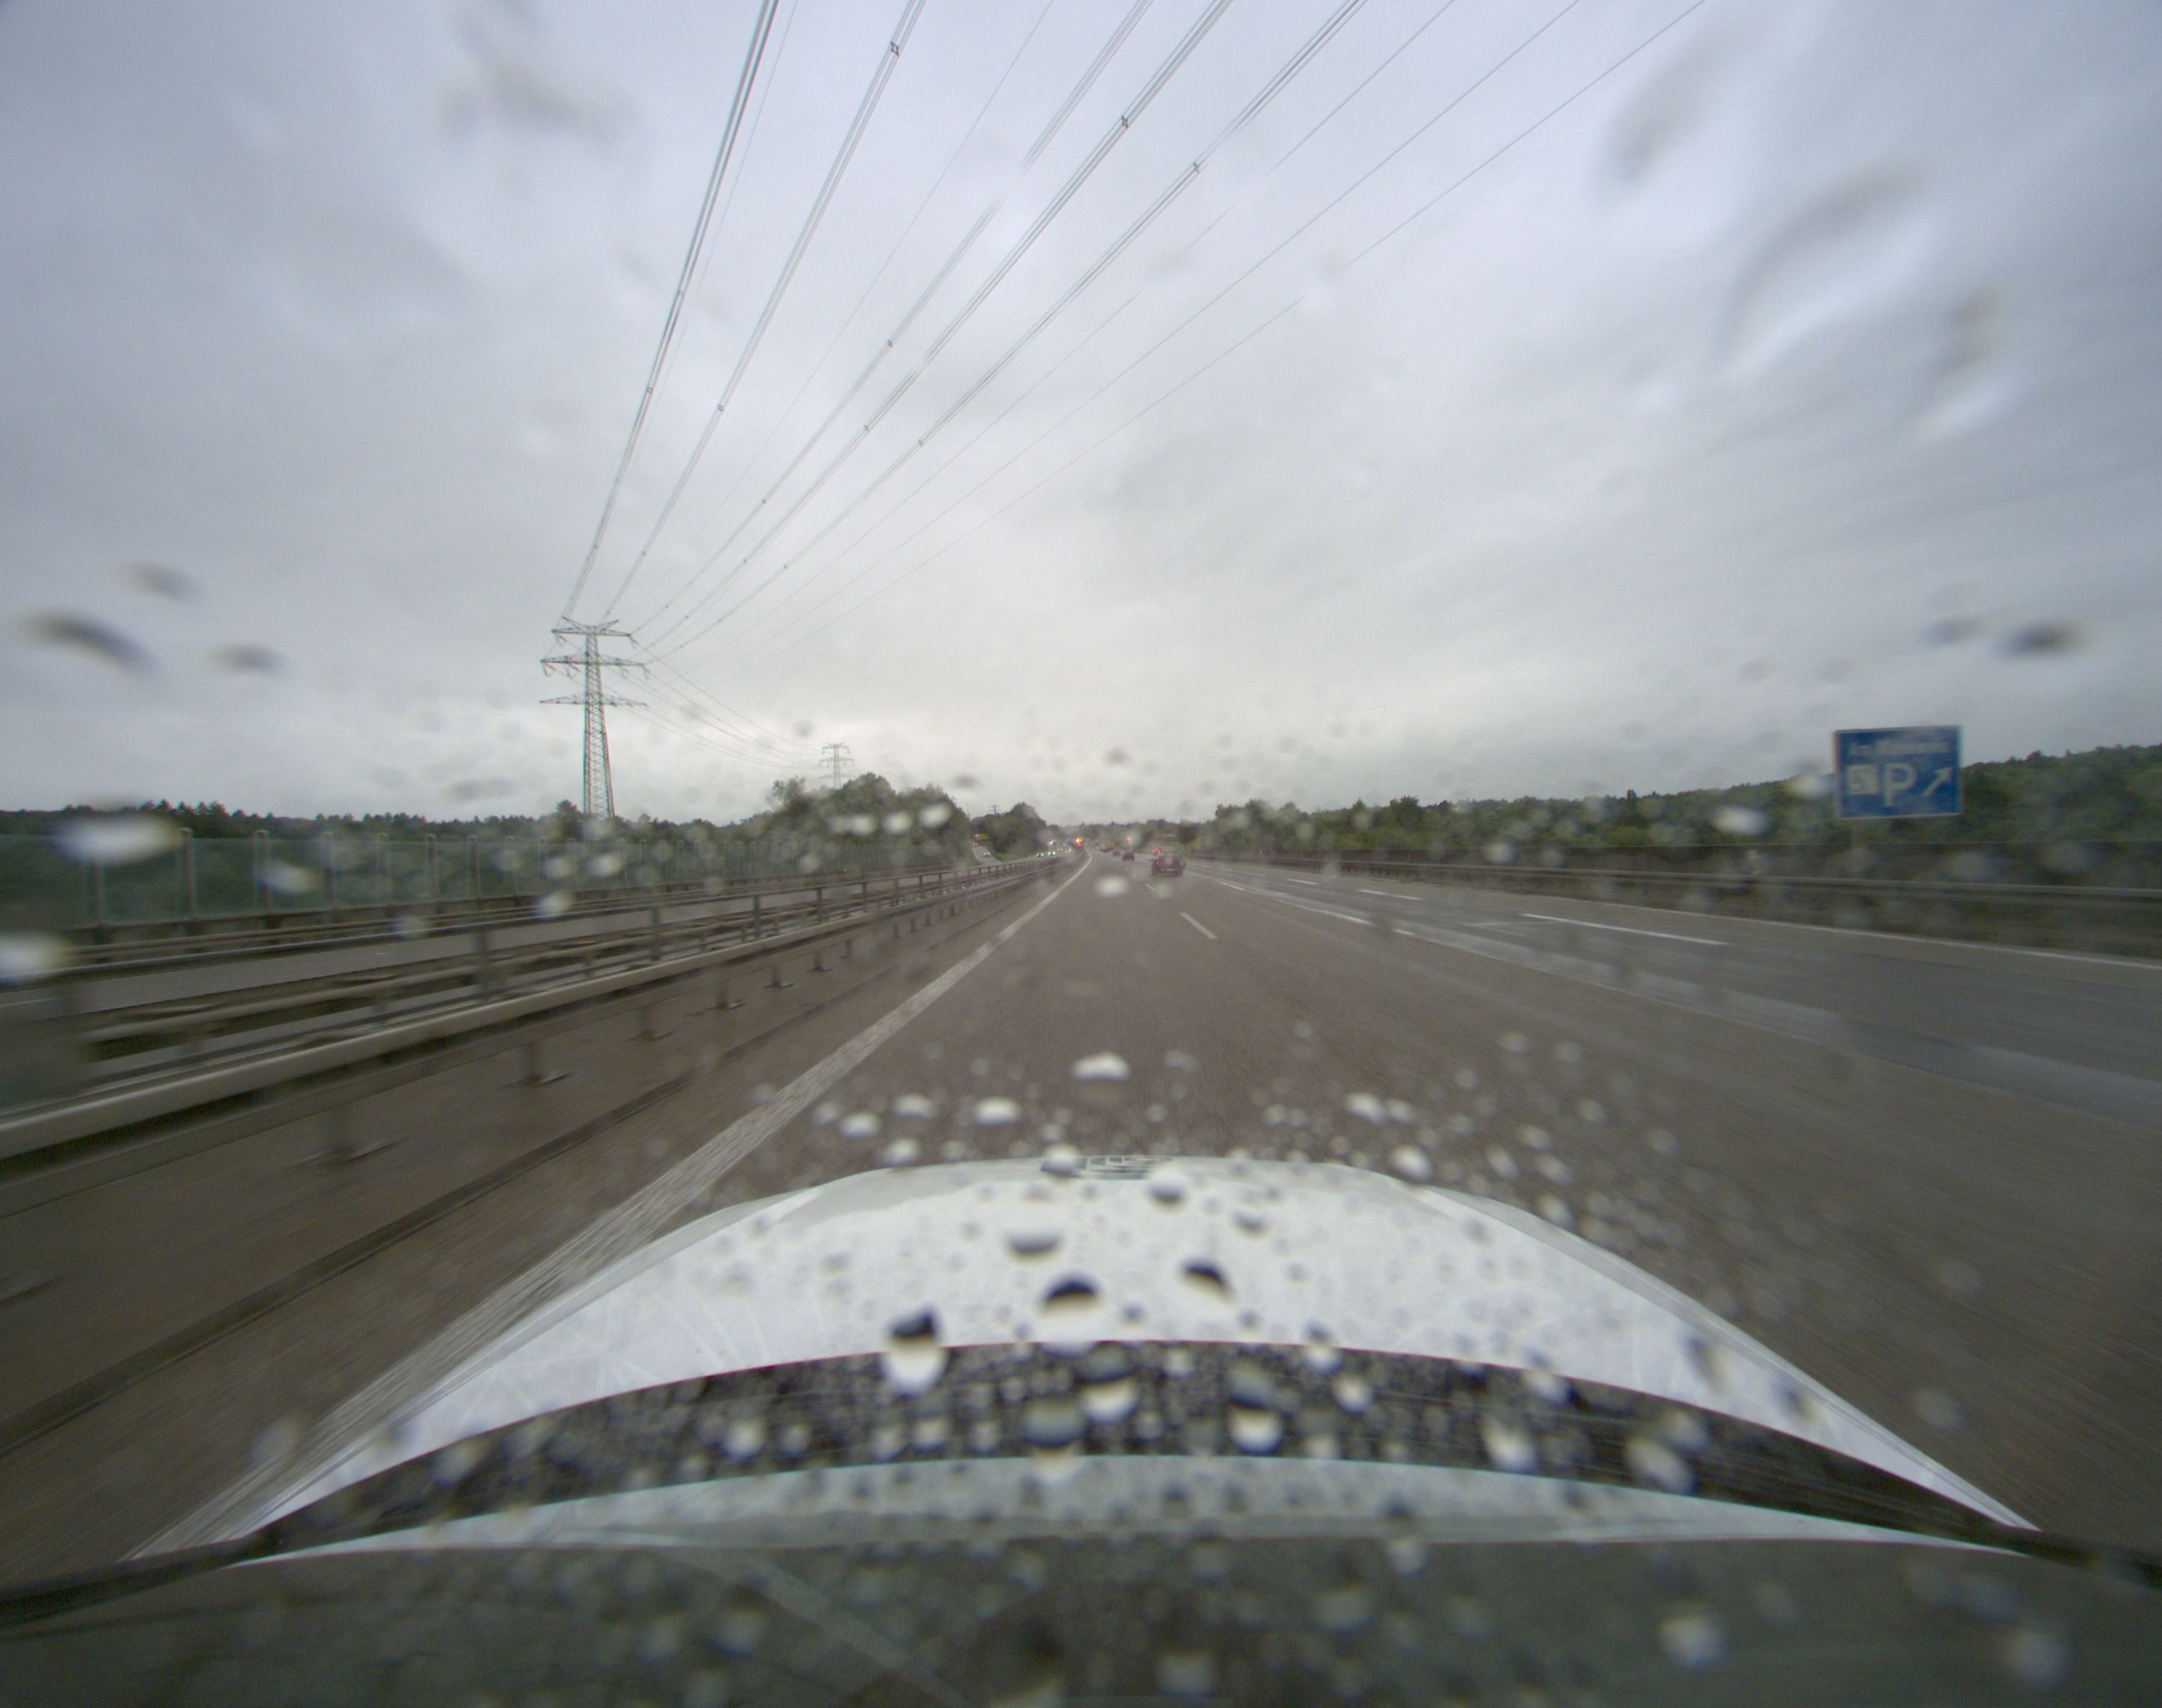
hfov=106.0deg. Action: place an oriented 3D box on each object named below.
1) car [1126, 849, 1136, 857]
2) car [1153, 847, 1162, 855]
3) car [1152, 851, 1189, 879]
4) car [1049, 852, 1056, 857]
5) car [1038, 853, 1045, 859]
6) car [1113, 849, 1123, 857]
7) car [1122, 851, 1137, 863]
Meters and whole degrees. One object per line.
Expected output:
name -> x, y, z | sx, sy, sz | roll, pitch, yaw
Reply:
car -> 12.050, -0.347, 194.885 | 1.988, 1.760, 3.999 | -3, 1, -1
car -> 17.287, -0.678, 183.825 | 1.912, 1.709, 4.007 | -3, 1, 6
car -> 5.716, 0.654, 52.648 | 2.049, 1.671, 5.526 | -1, 0, 3
car -> -8.900, 0.229, 255.094 | 1.809, 1.437, 4.090 | -4, 0, 1
car -> -11.738, 0.589, 242.415 | 1.809, 1.388, 4.090 | -4, 0, 1
car -> 8.432, -0.233, 187.037 | 1.988, 1.628, 3.999 | -3, 1, -1
car -> 7.465, 0.462, 125.576 | 1.988, 1.760, 3.999 | -3, 1, -1
